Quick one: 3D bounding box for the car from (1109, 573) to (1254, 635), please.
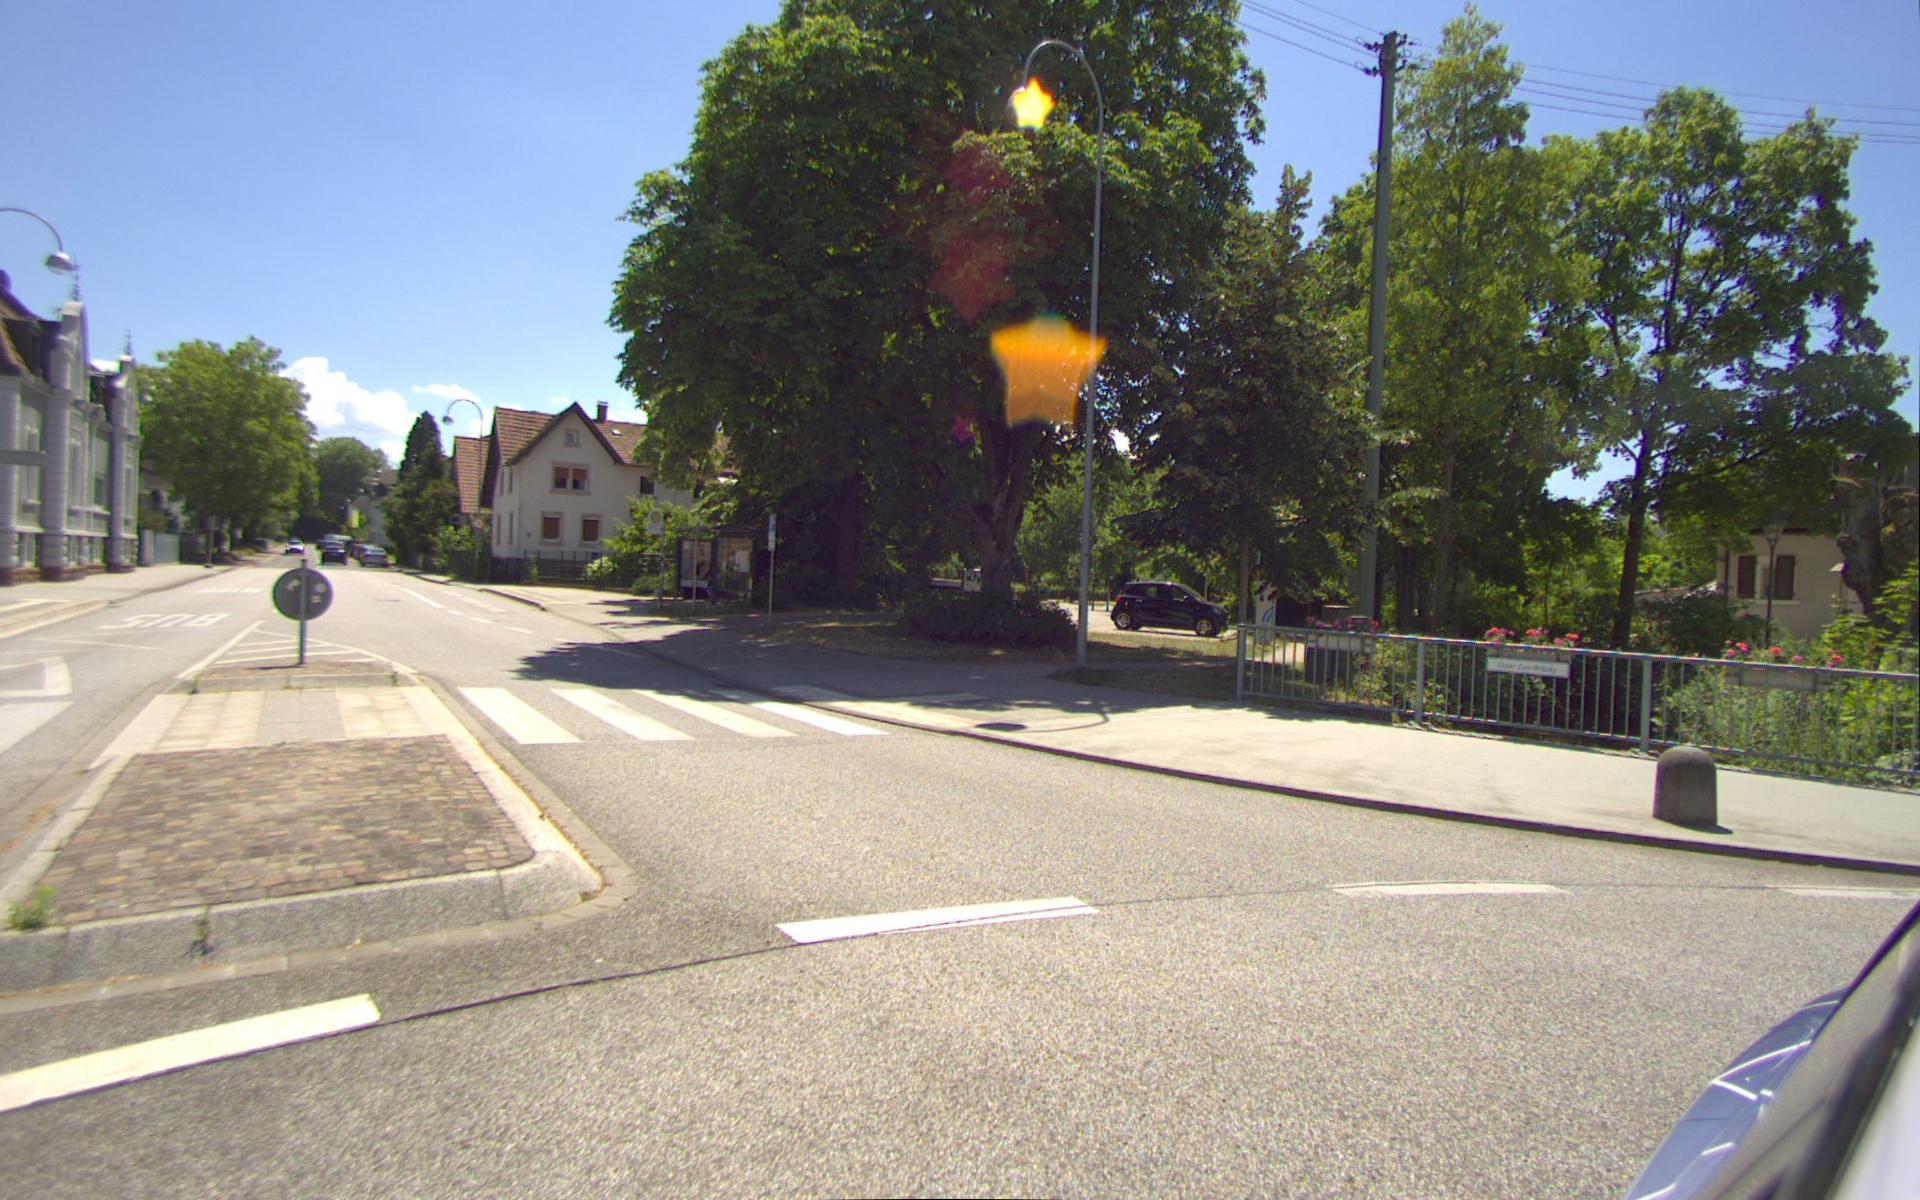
[{"bbox_3d":[6.738,0.074,30.796,3.961,1.621,1.826,3,2,26],"label":"car"}]

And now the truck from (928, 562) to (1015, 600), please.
[{"bbox_3d":[0.775,-1.338,72.316,6.099,2.474,2.265,2,-1,-1],"label":"truck"}]

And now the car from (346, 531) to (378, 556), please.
[{"bbox_3d":[-53.570,-5.027,90.593,1.962,2.039,3.998,3,-1,-37],"label":"car"}]

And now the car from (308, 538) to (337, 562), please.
[{"bbox_3d":[-61.591,-4.810,97.746,1.962,2.039,3.998,3,-1,-37],"label":"car"}]

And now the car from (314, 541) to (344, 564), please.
[{"bbox_3d":[-50.886,-3.804,81.594,1.707,1.727,3.999,0,1,-36],"label":"car"}]

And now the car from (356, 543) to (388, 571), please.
[{"bbox_3d":[-47.393,-3.413,81.524,1.961,2.039,4.001,3,-1,-34],"label":"car"}]

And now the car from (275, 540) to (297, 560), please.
[{"bbox_3d":[-76.844,-5.721,115.343,1.961,2.039,4.001,3,-1,-34],"label":"car"}]
